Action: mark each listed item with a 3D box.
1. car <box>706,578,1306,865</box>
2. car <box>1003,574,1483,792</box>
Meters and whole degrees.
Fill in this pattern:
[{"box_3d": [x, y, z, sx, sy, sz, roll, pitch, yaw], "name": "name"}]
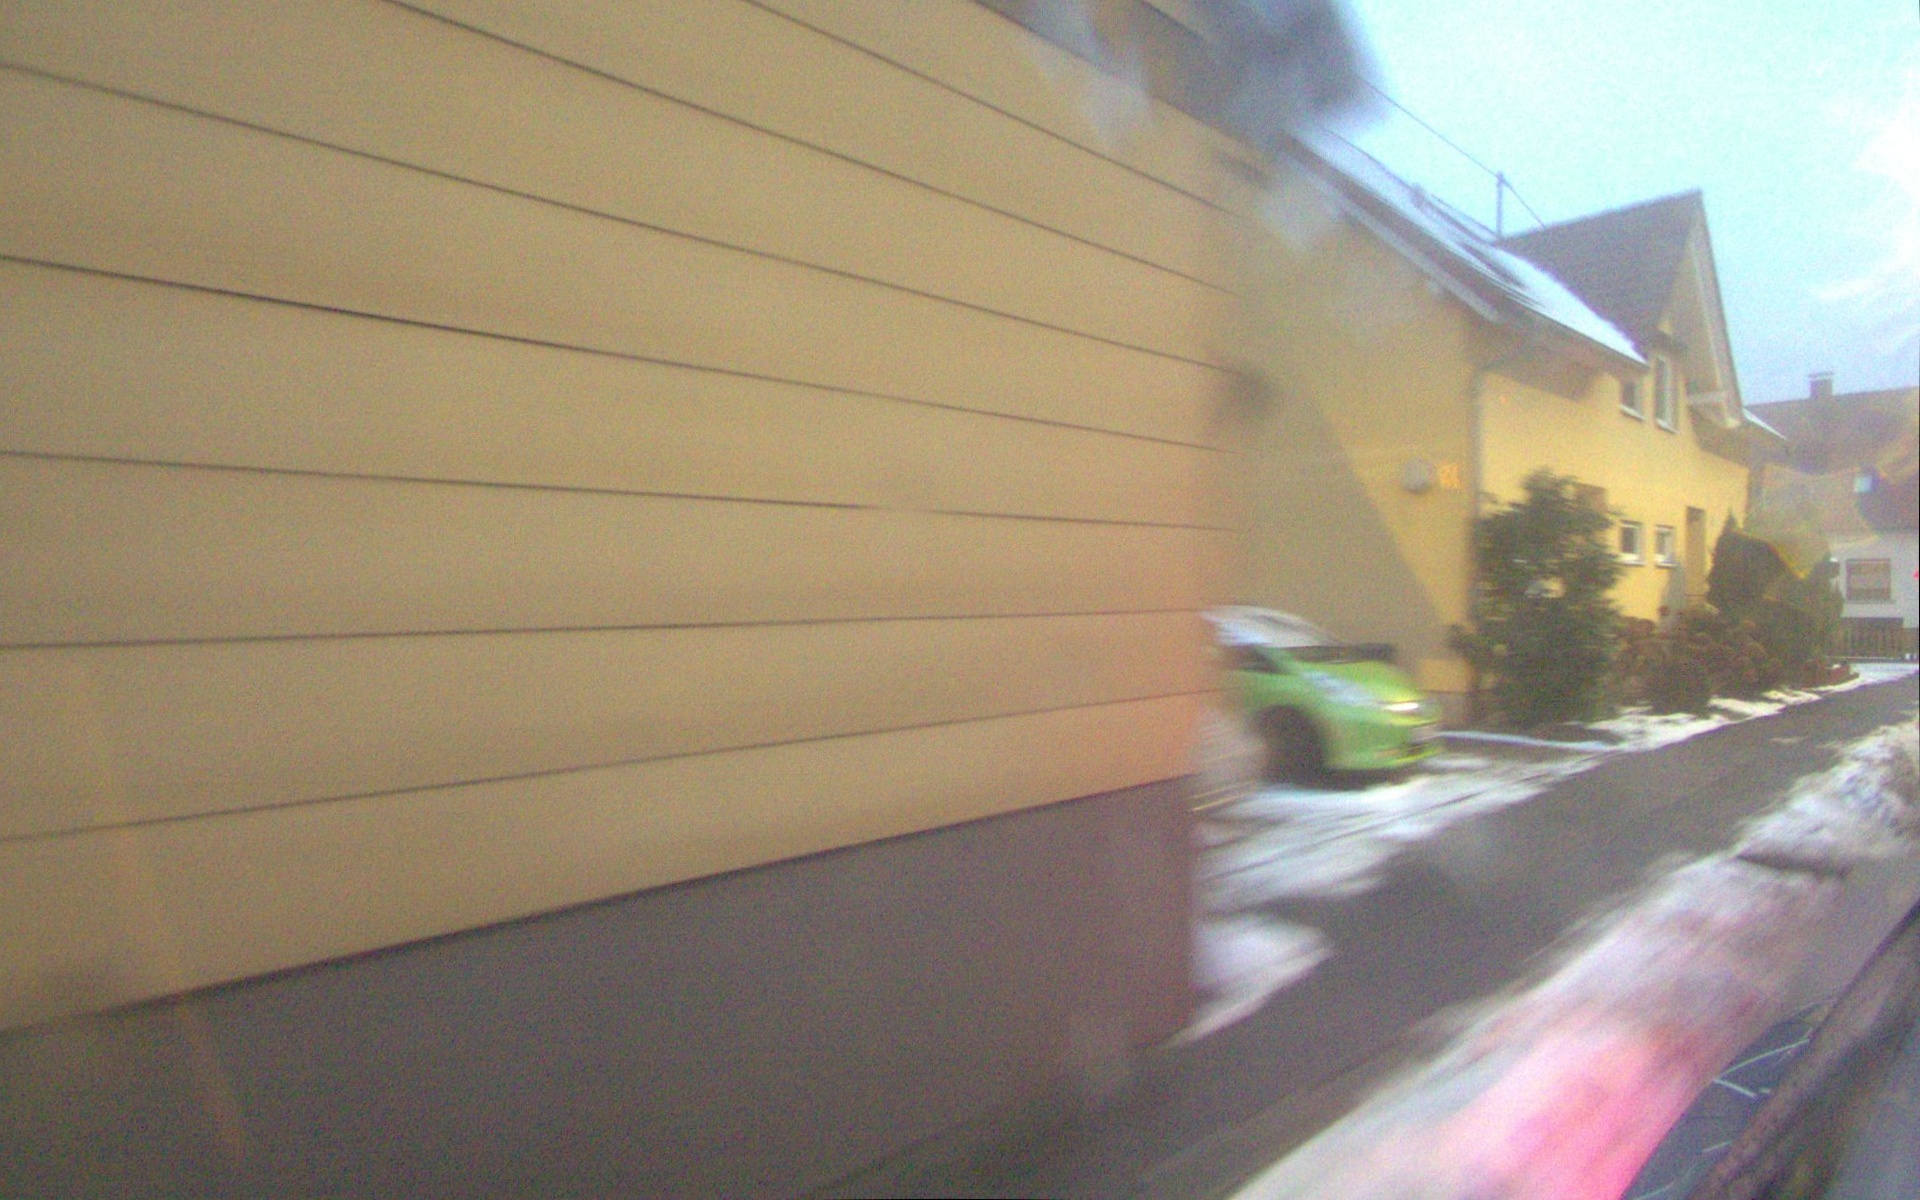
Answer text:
[{"box_3d": [0.085, 0.667, 7.292, 1.870, 1.452, 4.171, 1, -2, -45], "name": "car"}, {"box_3d": [2.369, 0.575, 9.021, 3.741, 1.516, 1.793, 0, 0, 44], "name": "car"}]
